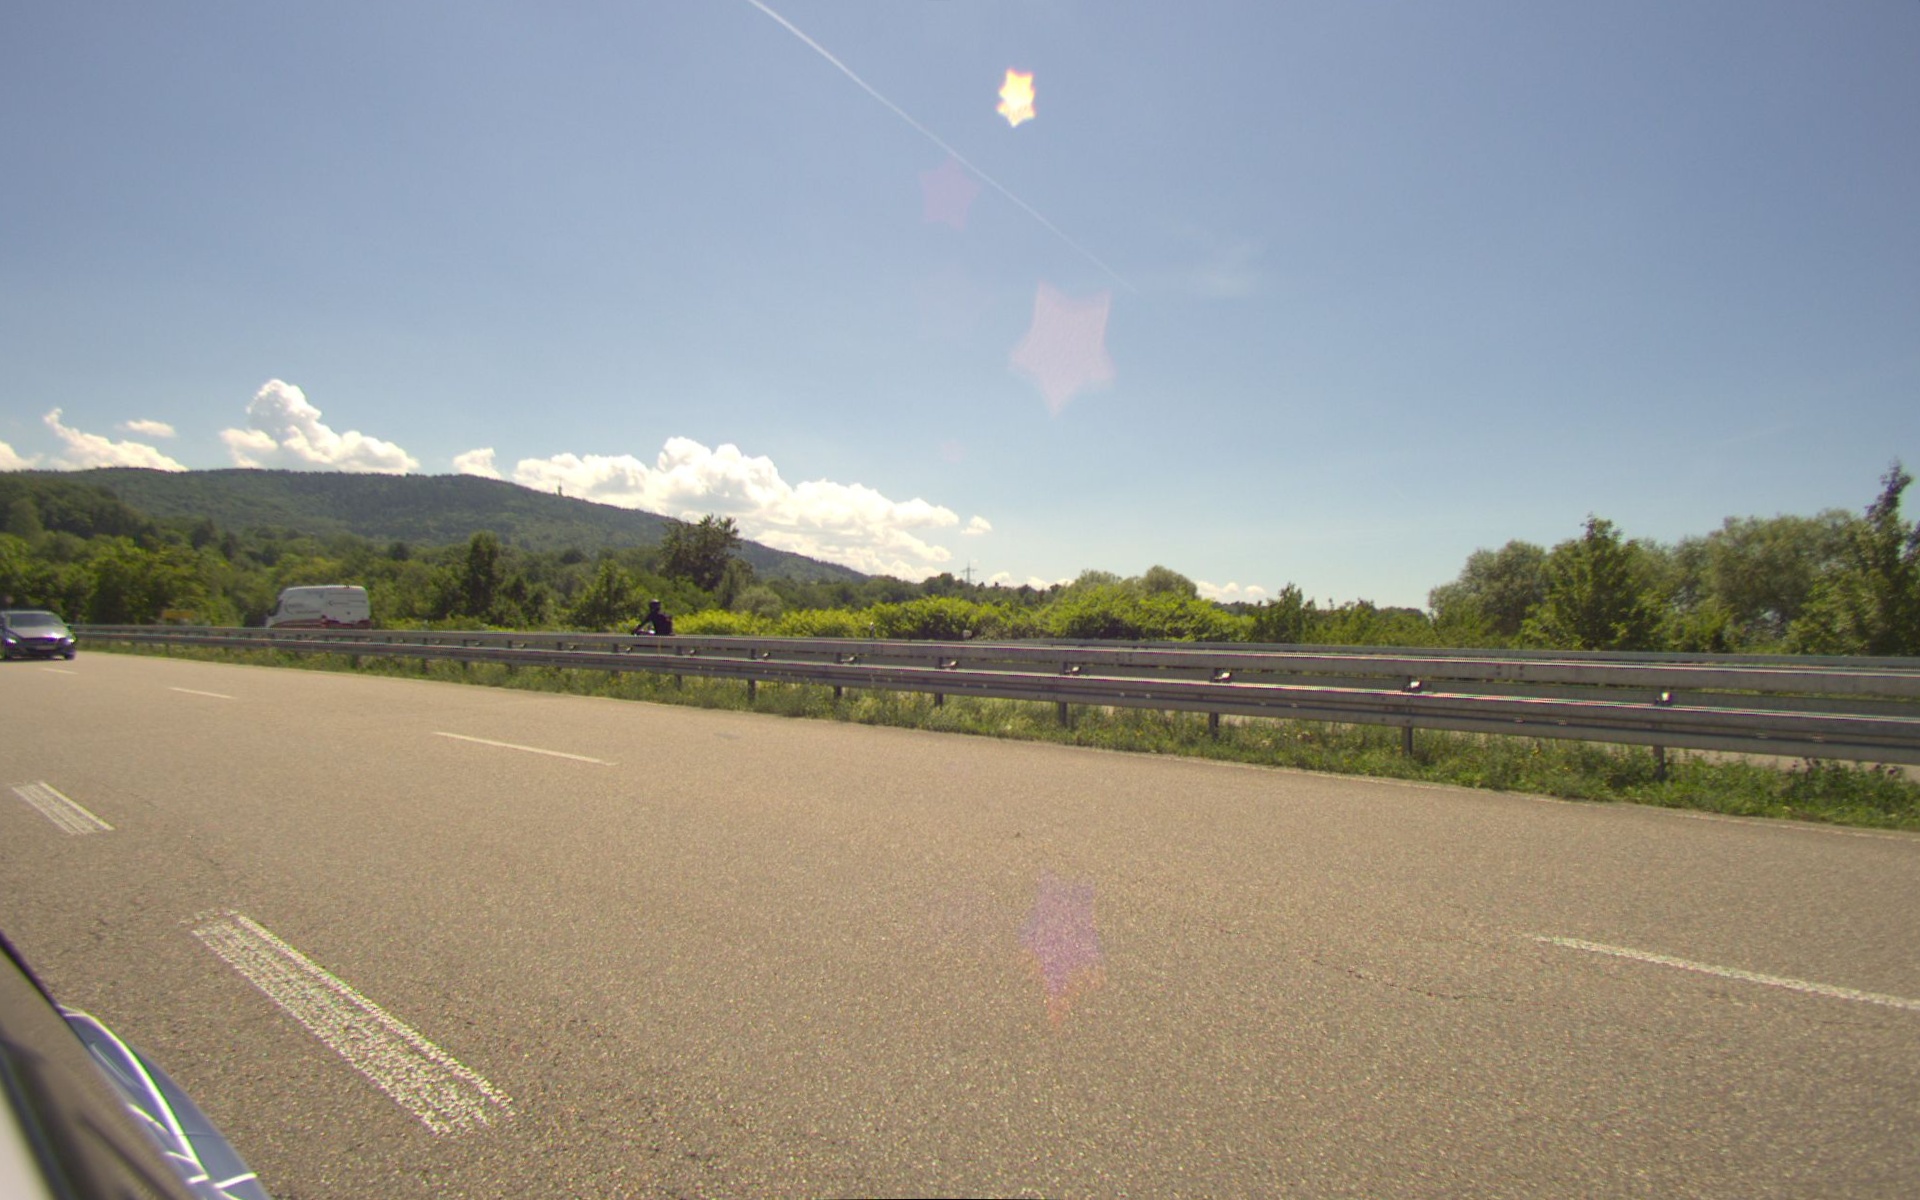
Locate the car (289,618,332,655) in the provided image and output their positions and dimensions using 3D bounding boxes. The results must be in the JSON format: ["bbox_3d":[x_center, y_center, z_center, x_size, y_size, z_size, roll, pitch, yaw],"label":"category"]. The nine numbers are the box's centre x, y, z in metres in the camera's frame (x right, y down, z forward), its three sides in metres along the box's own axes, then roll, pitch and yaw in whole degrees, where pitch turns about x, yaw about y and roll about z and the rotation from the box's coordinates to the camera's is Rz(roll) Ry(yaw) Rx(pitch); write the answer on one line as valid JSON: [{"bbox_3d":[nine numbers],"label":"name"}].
[{"bbox_3d":[-50.927,2.828,79.435,2.173,2.657,5.644,2,-1,-27],"label":"car"}]

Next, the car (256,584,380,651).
[{"bbox_3d":[-28.635,0.724,45.015,7.211,2.794,2.258,1,-1,38],"label":"car"}]

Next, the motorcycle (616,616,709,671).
[{"bbox_3d":[-6.891,0.988,23.369,2.527,1.152,0.783,1,-1,40],"label":"motorcycle"}]

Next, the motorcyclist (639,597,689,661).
[{"bbox_3d":[-6.823,0.657,23.310,0.767,1.444,0.783,1,-1,40],"label":"motorcyclist"}]

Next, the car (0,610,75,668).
[{"bbox_3d":[-30.323,1.213,32.836,4.551,1.680,1.775,0,1,41],"label":"car"}]
